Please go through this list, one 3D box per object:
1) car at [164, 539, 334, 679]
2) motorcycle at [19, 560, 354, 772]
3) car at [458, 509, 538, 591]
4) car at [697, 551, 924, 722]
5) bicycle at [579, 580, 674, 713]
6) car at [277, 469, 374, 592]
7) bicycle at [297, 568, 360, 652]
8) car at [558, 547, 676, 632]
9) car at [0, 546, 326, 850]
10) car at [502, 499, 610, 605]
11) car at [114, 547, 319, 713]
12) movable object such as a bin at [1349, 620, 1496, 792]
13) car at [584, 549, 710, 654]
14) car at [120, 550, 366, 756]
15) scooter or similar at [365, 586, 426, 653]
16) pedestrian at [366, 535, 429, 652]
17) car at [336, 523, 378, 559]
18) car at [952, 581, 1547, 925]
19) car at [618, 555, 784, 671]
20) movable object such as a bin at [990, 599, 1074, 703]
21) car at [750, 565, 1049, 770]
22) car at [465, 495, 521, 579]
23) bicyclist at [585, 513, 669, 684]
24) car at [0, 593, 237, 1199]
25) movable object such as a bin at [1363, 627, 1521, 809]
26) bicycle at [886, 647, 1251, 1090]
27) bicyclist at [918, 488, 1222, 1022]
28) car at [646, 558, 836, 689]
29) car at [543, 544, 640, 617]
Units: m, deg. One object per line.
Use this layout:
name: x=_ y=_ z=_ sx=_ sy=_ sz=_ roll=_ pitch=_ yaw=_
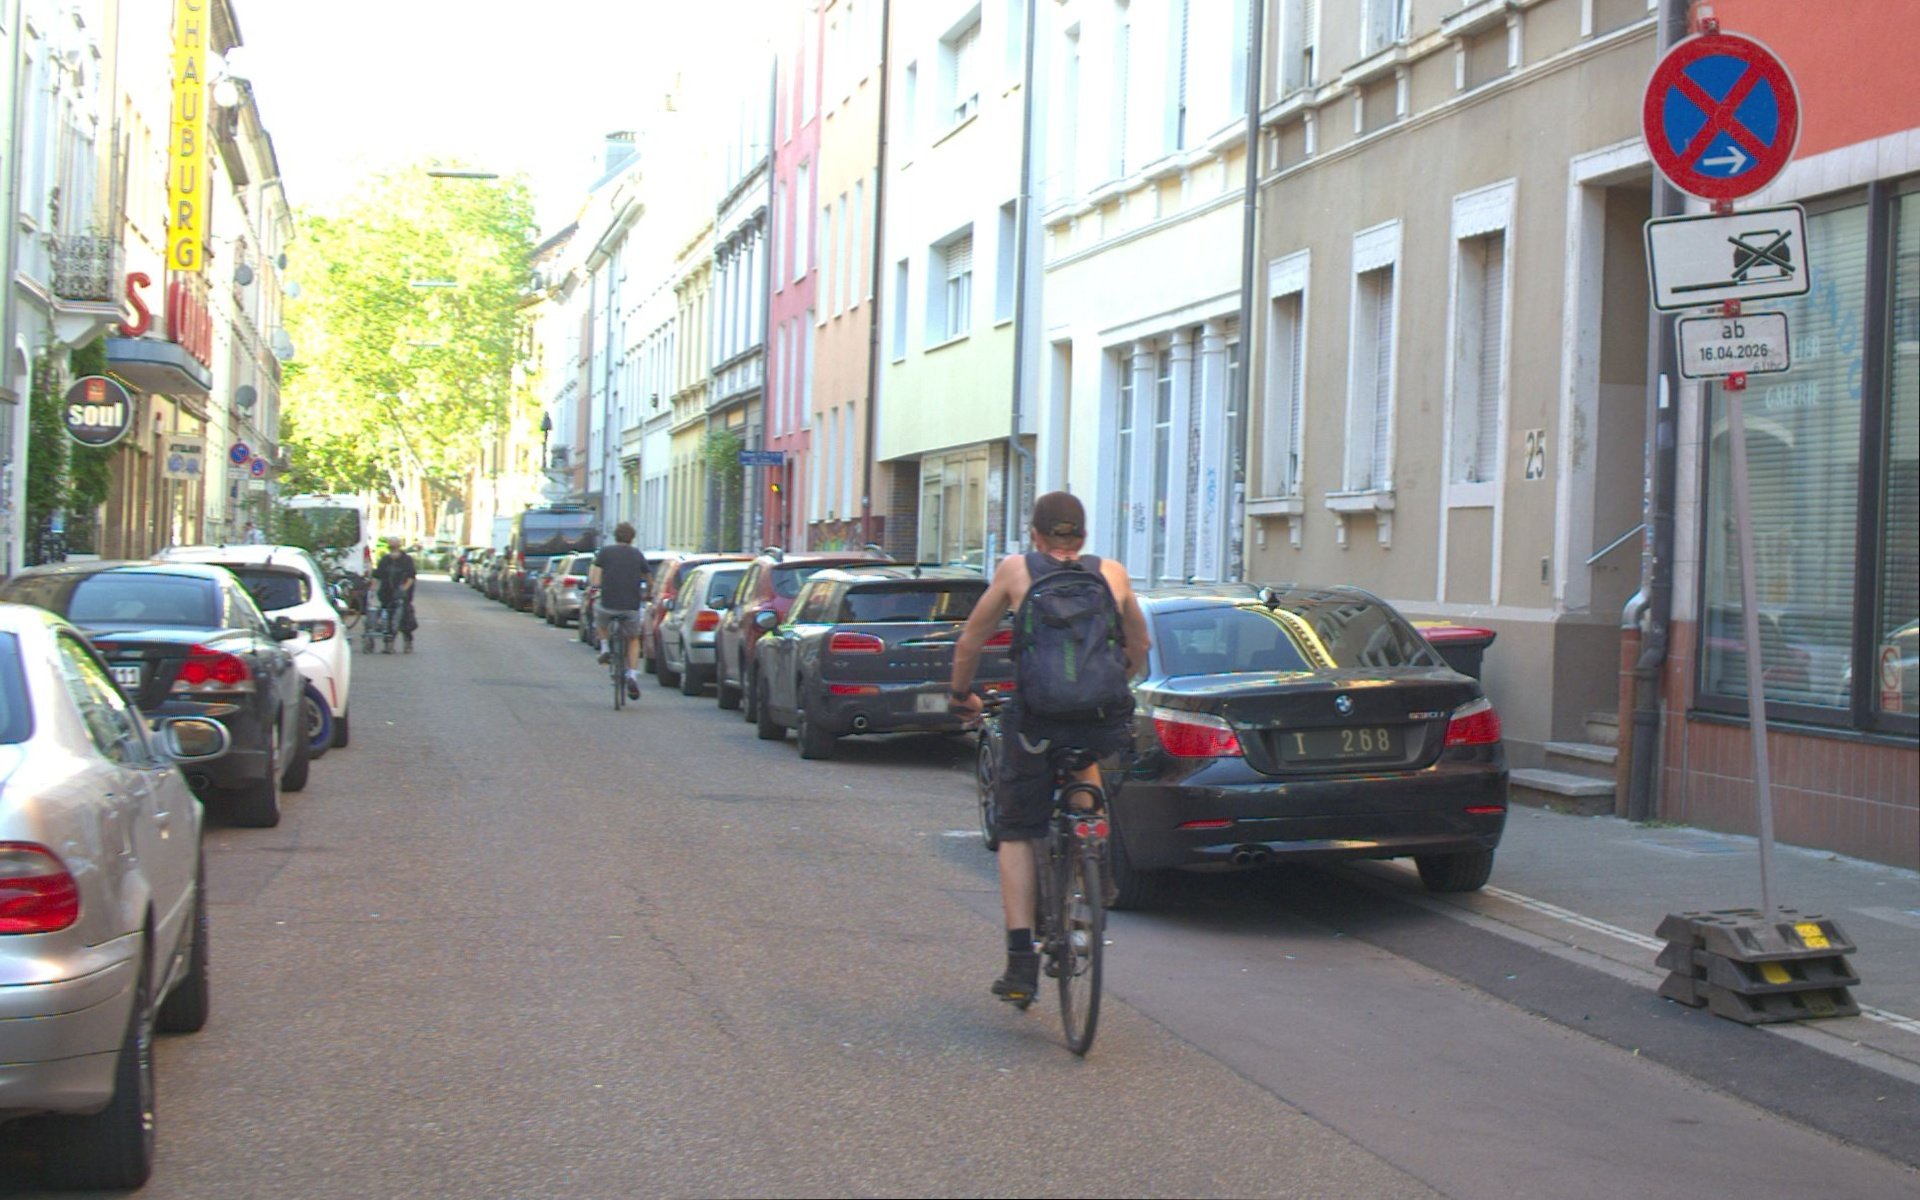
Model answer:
car: x=-7.668 y=0.067 z=37.328 sx=1.671 sy=1.437 sz=3.755 roll=0 pitch=1 yaw=-10
motorcycle: x=-5.271 y=0.431 z=23.475 sx=2.146 sy=1.354 sz=0.540 roll=-1 pitch=2 yaw=-27
car: x=-14.833 y=-1.581 z=110.011 sx=2.307 sy=2.529 sz=6.771 roll=0 pitch=1 yaw=-10
car: x=-1.508 y=0.312 z=33.306 sx=1.710 sy=1.551 sz=4.001 roll=0 pitch=1 yaw=-10
bicycle: x=-3.233 y=0.427 z=33.181 sx=0.702 sy=1.204 sz=2.343 roll=2 pitch=0 yaw=-10
car: x=-13.513 y=-1.476 z=73.065 sx=1.909 sy=2.488 sz=4.167 roll=1 pitch=1 yaw=-11
bicycle: x=-8.850 y=0.122 z=48.089 sx=0.699 sy=1.102 sz=2.275 roll=3 pitch=0 yaw=-13
car: x=-5.803 y=-0.193 z=57.915 sx=1.710 sy=1.389 sz=4.001 roll=0 pitch=1 yaw=-10
car: x=-4.549 y=0.456 z=19.165 sx=1.710 sy=1.378 sz=4.357 roll=2 pitch=2 yaw=-7
car: x=-10.045 y=-1.174 z=85.000 sx=2.307 sy=2.529 sz=6.771 roll=0 pitch=1 yaw=-10
car: x=-6.813 y=0.240 z=31.781 sx=1.671 sy=1.437 sz=3.769 roll=0 pitch=1 yaw=-10
movable object such as a bin: x=2.979 y=0.675 z=22.194 sx=0.807 sy=1.071 sz=0.677 roll=-1 pitch=1 yaw=-5
car: x=-4.851 y=-0.003 z=52.939 sx=1.620 sy=1.545 sz=4.001 roll=0 pitch=1 yaw=-10
car: x=-5.395 y=0.345 z=26.240 sx=1.671 sy=1.437 sz=4.166 roll=0 pitch=1 yaw=-10
scooter or similar: x=-7.766 y=0.263 z=47.285 sx=0.770 sy=0.870 sz=0.771 roll=3 pitch=0 yaw=-9
pedestrian: x=-7.802 y=-0.091 z=47.715 sx=0.770 sy=1.573 sz=0.900 roll=3 pitch=0 yaw=-9
car: x=-24.611 y=-2.403 z=140.339 sx=1.671 sy=1.437 sz=4.166 roll=0 pitch=1 yaw=-10
car: x=1.252 y=0.635 z=17.121 sx=1.816 sy=1.433 sz=4.792 roll=0 pitch=1 yaw=-10
car: x=-3.300 y=0.133 z=43.205 sx=1.710 sy=1.378 sz=4.001 roll=0 pitch=1 yaw=-10
movable object such as a bin: x=0.753 y=0.536 z=36.316 sx=0.807 sy=1.071 sz=0.677 roll=-1 pitch=1 yaw=-5
car: x=-0.561 y=0.476 z=27.546 sx=1.816 sy=1.516 sz=4.001 roll=0 pitch=1 yaw=-10
car: x=-21.356 y=-2.857 z=156.954 sx=2.307 sy=3.755 sz=6.771 roll=0 pitch=1 yaw=-10
bicyclist: x=-3.213 y=-0.018 z=33.098 sx=0.702 sy=1.599 sz=0.813 roll=2 pitch=0 yaw=-10
car: x=-2.878 y=0.694 z=9.091 sx=1.710 sy=1.378 sz=4.507 roll=0 pitch=1 yaw=-10
movable object such as a bin: x=2.946 y=0.711 z=21.060 sx=0.736 sy=1.071 sz=0.678 roll=-1 pitch=1 yaw=-16
bicycle: x=0.301 y=0.817 z=11.359 sx=0.702 sy=1.204 sz=2.343 roll=3 pitch=1 yaw=-9
bicyclist: x=0.337 y=0.475 z=11.210 sx=0.702 sy=1.627 sz=1.090 roll=3 pitch=1 yaw=-9
car: x=-2.493 y=0.223 z=38.334 sx=1.710 sy=1.378 sz=4.001 roll=0 pitch=1 yaw=-10
car: x=-7.479 y=-0.403 z=69.567 sx=1.710 sy=1.442 sz=4.001 roll=0 pitch=1 yaw=-10
